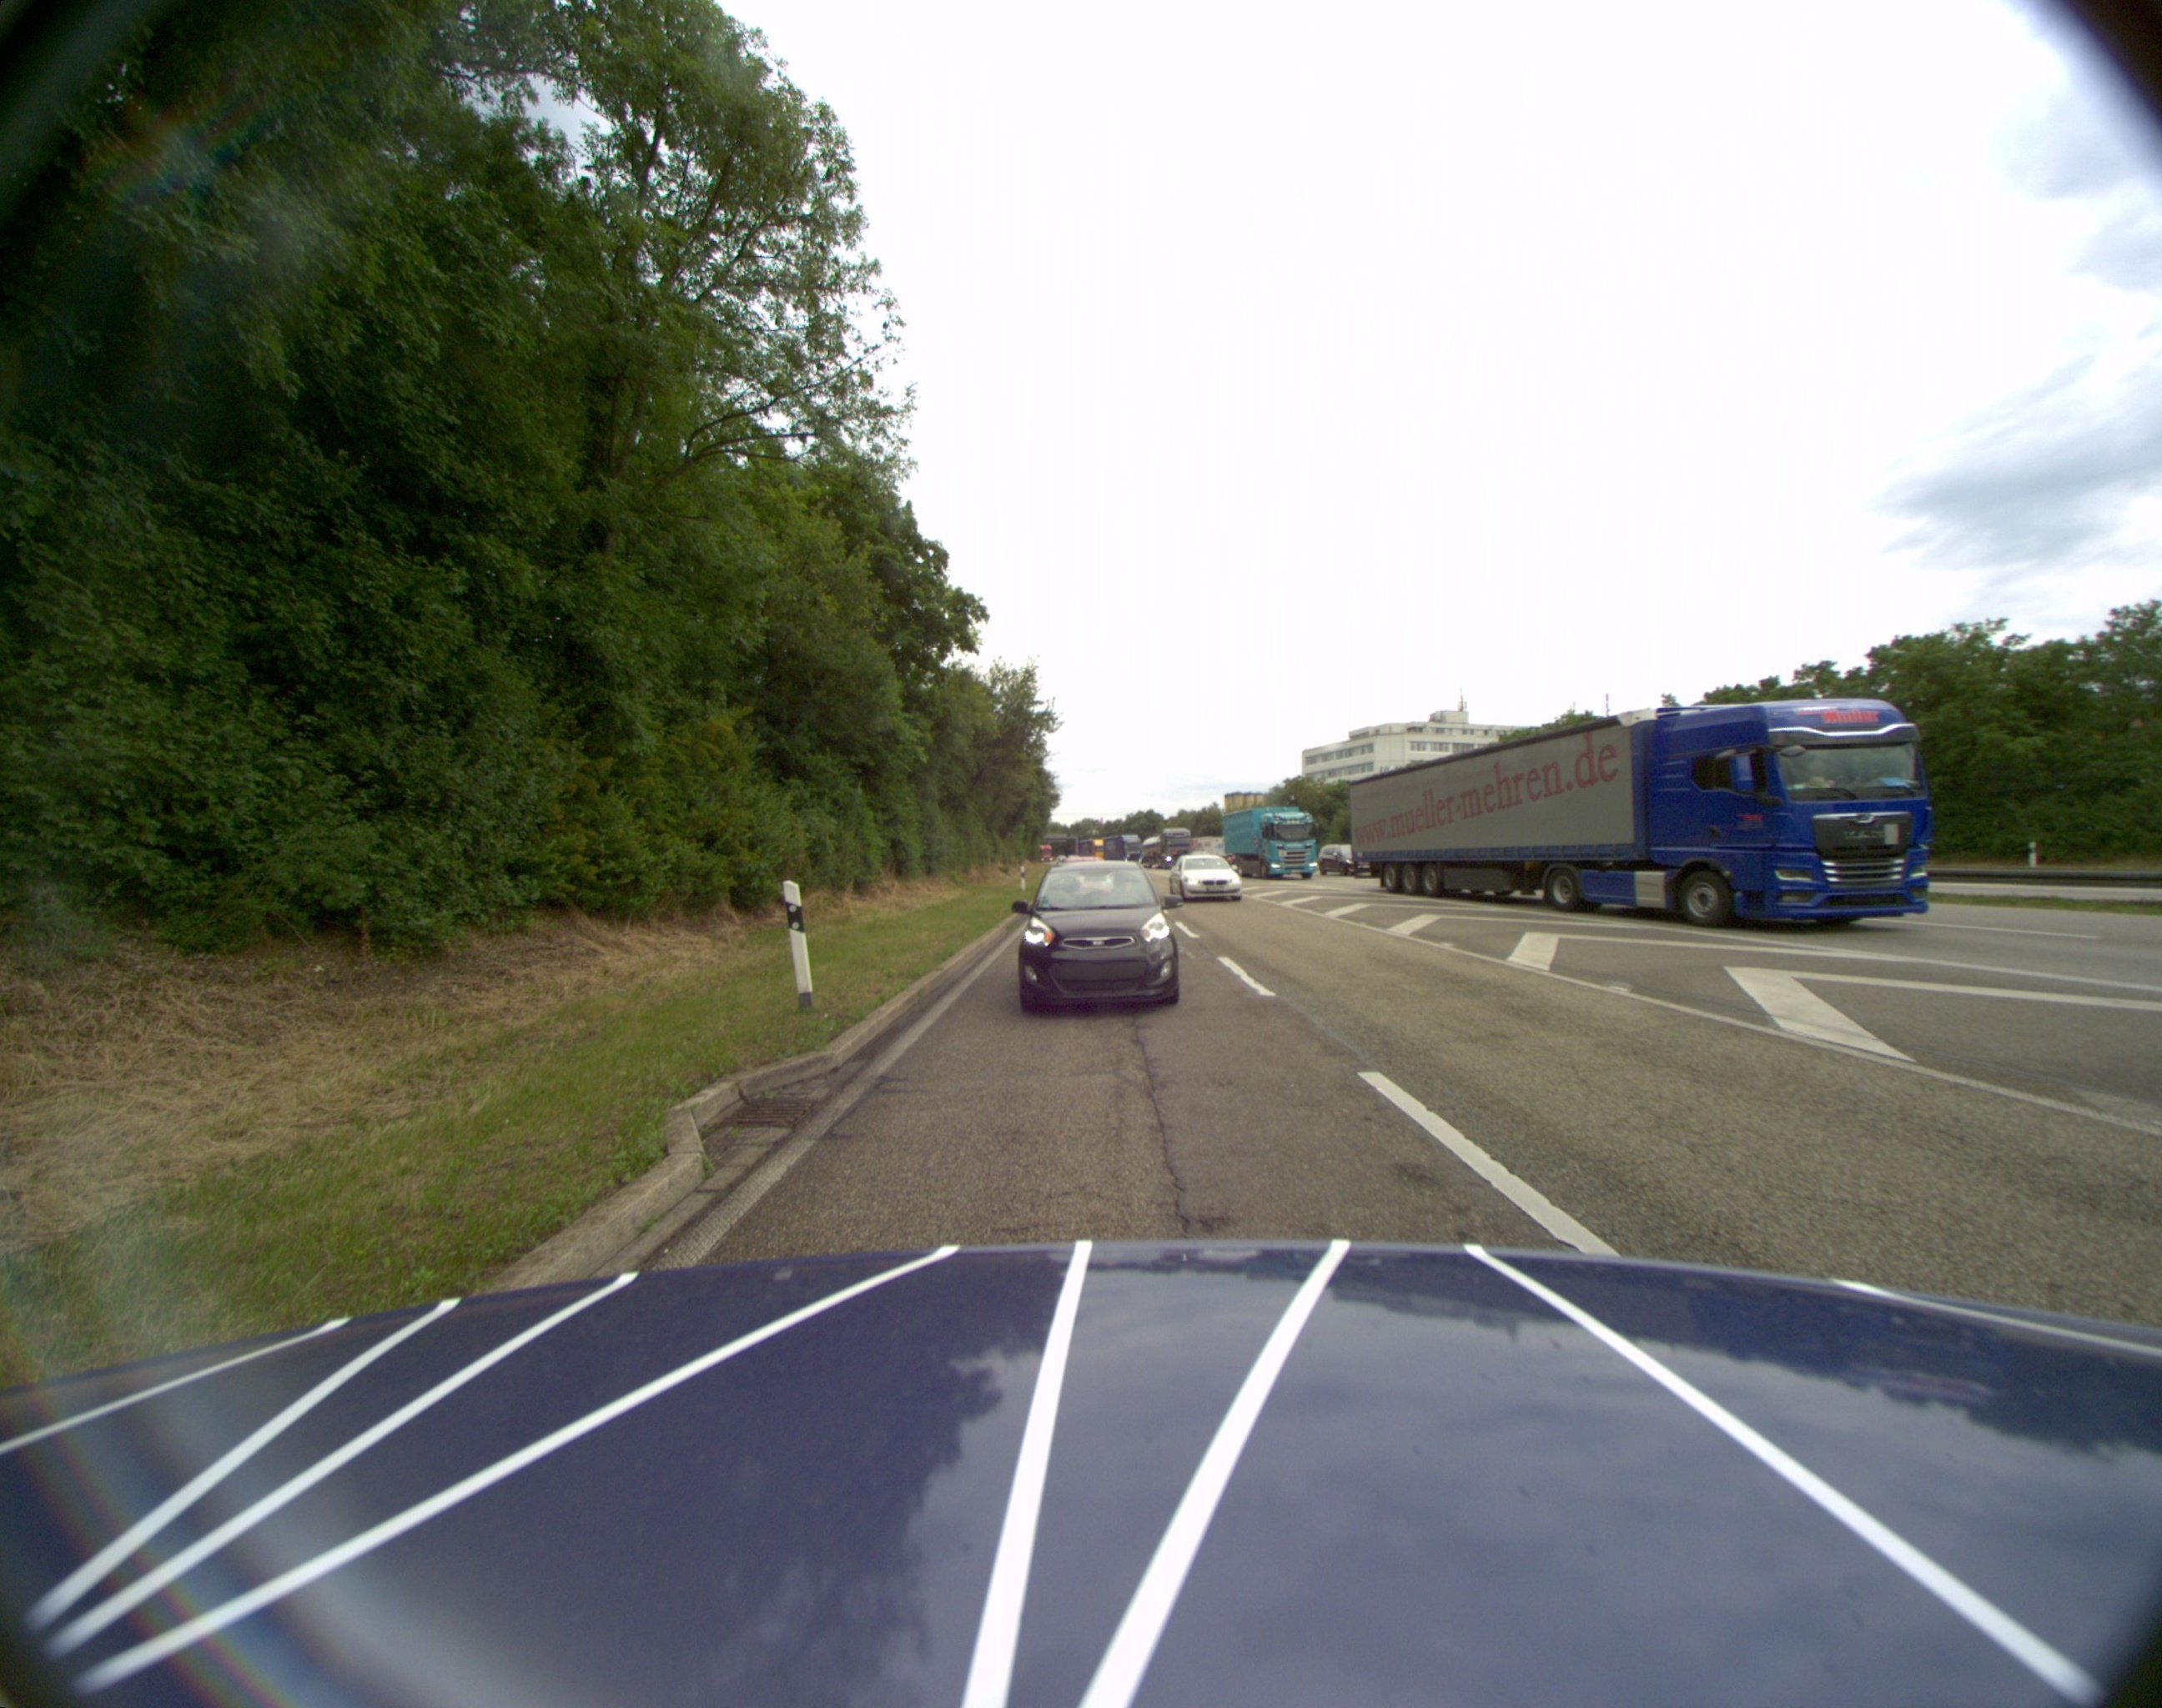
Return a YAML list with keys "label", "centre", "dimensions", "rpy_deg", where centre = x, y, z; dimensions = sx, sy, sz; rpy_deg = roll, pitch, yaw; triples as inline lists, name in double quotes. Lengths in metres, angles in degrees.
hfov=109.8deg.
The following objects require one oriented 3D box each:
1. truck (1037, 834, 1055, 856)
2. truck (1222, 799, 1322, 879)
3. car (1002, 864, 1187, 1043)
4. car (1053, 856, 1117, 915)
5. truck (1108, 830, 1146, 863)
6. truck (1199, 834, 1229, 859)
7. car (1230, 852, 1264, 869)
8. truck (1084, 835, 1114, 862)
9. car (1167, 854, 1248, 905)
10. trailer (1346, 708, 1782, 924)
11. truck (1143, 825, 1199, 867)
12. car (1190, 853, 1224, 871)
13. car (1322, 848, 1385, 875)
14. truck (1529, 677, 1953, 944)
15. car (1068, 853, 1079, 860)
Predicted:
- label: "truck"
  centre: [-8.678, -2.182, 186.710]
  dimensions: [2.848, 5.070, 14.111]
  rpy_deg: [-2, 0, -8]
- label: "truck"
  centre: [10.559, -0.756, 43.330]
  dimensions: [2.700, 3.977, 10.122]
  rpy_deg: [-1, 0, -2]
- label: "car"
  centre: [0.163, 0.902, 8.685]
  dimensions: [1.584, 1.485, 4.000]
  rpy_deg: [-2, 0, 1]
- label: "car"
  centre: [0.113, 0.833, 21.693]
  dimensions: [1.630, 1.492, 3.564]
  rpy_deg: [-1, 0, 0]
- label: "truck"
  centre: [6.110, -0.953, 103.661]
  dimensions: [2.815, 4.206, 13.998]
  rpy_deg: [-2, 0, -6]
- label: "truck"
  centre: [20.094, -1.098, 115.262]
  dimensions: [2.000, 3.739, 7.541]
  rpy_deg: [-1, 0, -9]
- label: "car"
  centre: [14.362, 0.549, 65.943]
  dimensions: [1.898, 1.425, 4.054]
  rpy_deg: [-1, 0, -3]
- label: "truck"
  centre: [2.939, -0.893, 128.458]
  dimensions: [2.848, 4.206, 14.111]
  rpy_deg: [-2, 0, -8]
- label: "car"
  centre: [4.093, 0.763, 25.343]
  dimensions: [1.863, 1.455, 4.884]
  rpy_deg: [-2, 0, 0]
- label: "trailer"
  centre: [11.393, -0.724, 21.019]
  dimensions: [2.680, 3.951, 13.916]
  rpy_deg: [-1, 0, -2]
- label: "truck"
  centre: [8.919, -0.763, 77.537]
  dimensions: [3.328, 3.902, 13.140]
  rpy_deg: [-1, 0, -3]
- label: "car"
  centre: [9.750, 0.591, 58.848]
  dimensions: [1.757, 1.314, 3.999]
  rpy_deg: [-1, 0, -3]
- label: "car"
  centre: [15.062, 0.381, 42.209]
  dimensions: [1.898, 1.425, 3.999]
  rpy_deg: [-1, 0, -3]
- label: "truck"
  centre: [11.658, -0.666, 14.335]
  dimensions: [2.676, 3.938, 5.926]
  rpy_deg: [-1, 0, -2]
- label: "car"
  centre: [-1.437, 0.545, 151.036]
  dimensions: [1.636, 1.328, 3.192]
  rpy_deg: [-1, 0, -10]
